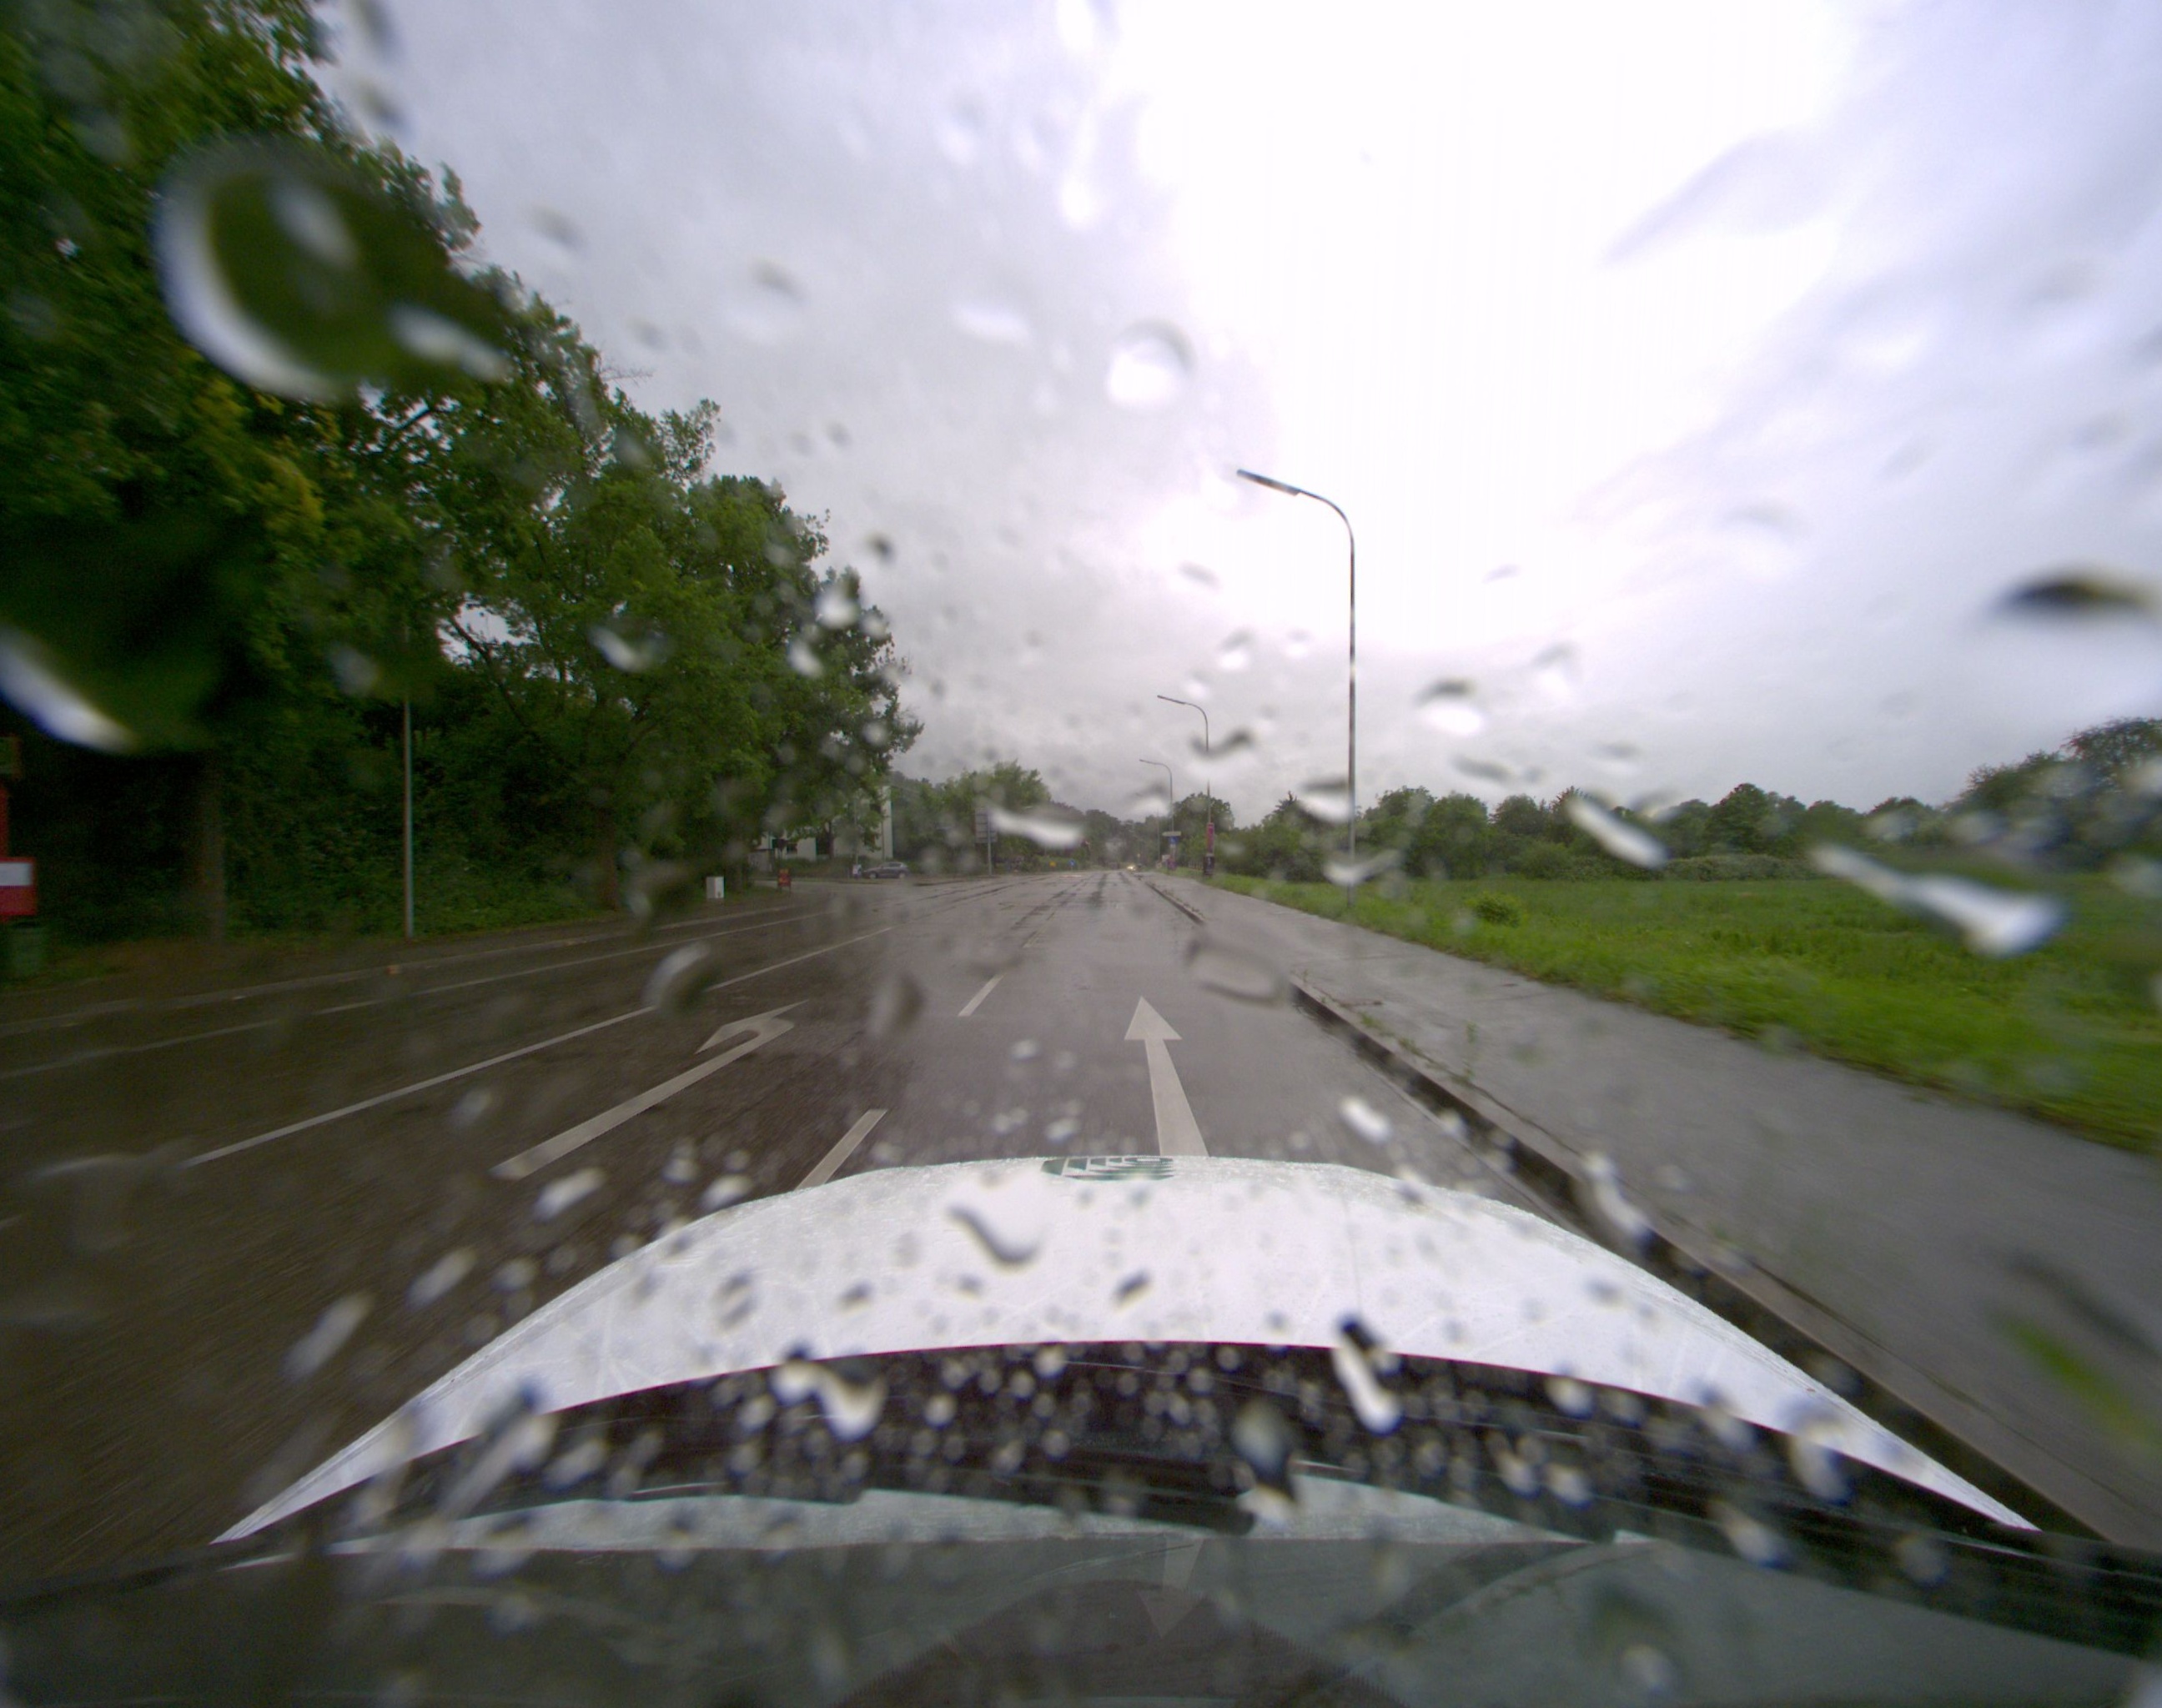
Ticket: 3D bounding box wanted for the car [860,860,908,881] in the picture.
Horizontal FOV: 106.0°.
[{"bbox_3d":[-18.091,1.493,74.682,4.007,1.762,1.785,0,0,-26],"label":"car"}]
